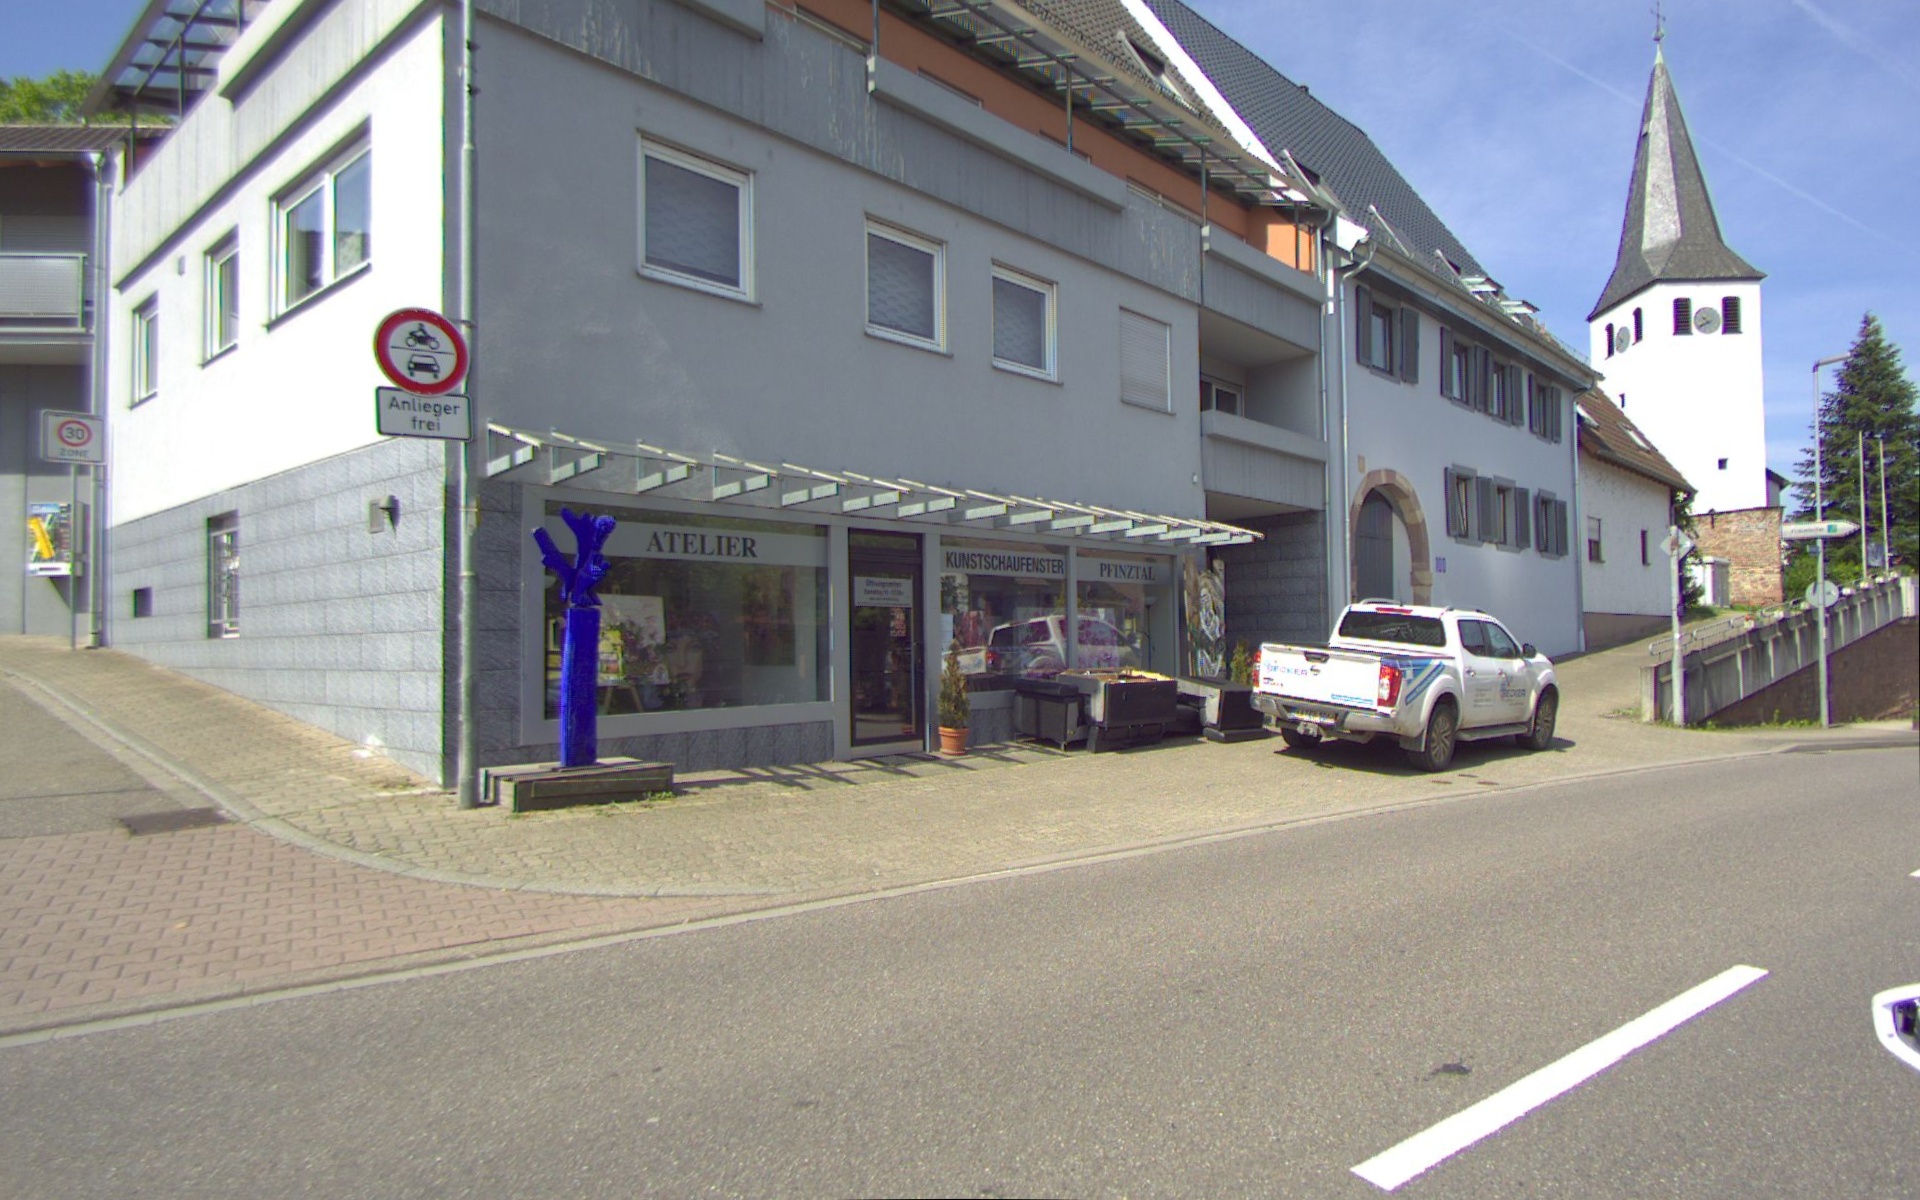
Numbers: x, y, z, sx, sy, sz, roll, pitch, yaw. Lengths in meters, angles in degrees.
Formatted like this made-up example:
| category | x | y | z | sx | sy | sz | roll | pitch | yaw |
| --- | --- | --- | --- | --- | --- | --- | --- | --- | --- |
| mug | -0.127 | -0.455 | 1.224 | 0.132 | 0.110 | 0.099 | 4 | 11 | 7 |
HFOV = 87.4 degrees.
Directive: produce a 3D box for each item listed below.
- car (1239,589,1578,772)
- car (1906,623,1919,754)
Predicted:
| category | x | y | z | sx | sy | sz | roll | pitch | yaw |
| --- | --- | --- | --- | --- | --- | --- | --- | --- | --- |
| car | 5.735 | 0.906 | 12.436 | 5.245 | 1.822 | 1.789 | 3 | -2 | -41 |
| car | 16.992 | 1.353 | 15.782 | 5.259 | 1.958 | 1.957 | 2 | -3 | -34 |
